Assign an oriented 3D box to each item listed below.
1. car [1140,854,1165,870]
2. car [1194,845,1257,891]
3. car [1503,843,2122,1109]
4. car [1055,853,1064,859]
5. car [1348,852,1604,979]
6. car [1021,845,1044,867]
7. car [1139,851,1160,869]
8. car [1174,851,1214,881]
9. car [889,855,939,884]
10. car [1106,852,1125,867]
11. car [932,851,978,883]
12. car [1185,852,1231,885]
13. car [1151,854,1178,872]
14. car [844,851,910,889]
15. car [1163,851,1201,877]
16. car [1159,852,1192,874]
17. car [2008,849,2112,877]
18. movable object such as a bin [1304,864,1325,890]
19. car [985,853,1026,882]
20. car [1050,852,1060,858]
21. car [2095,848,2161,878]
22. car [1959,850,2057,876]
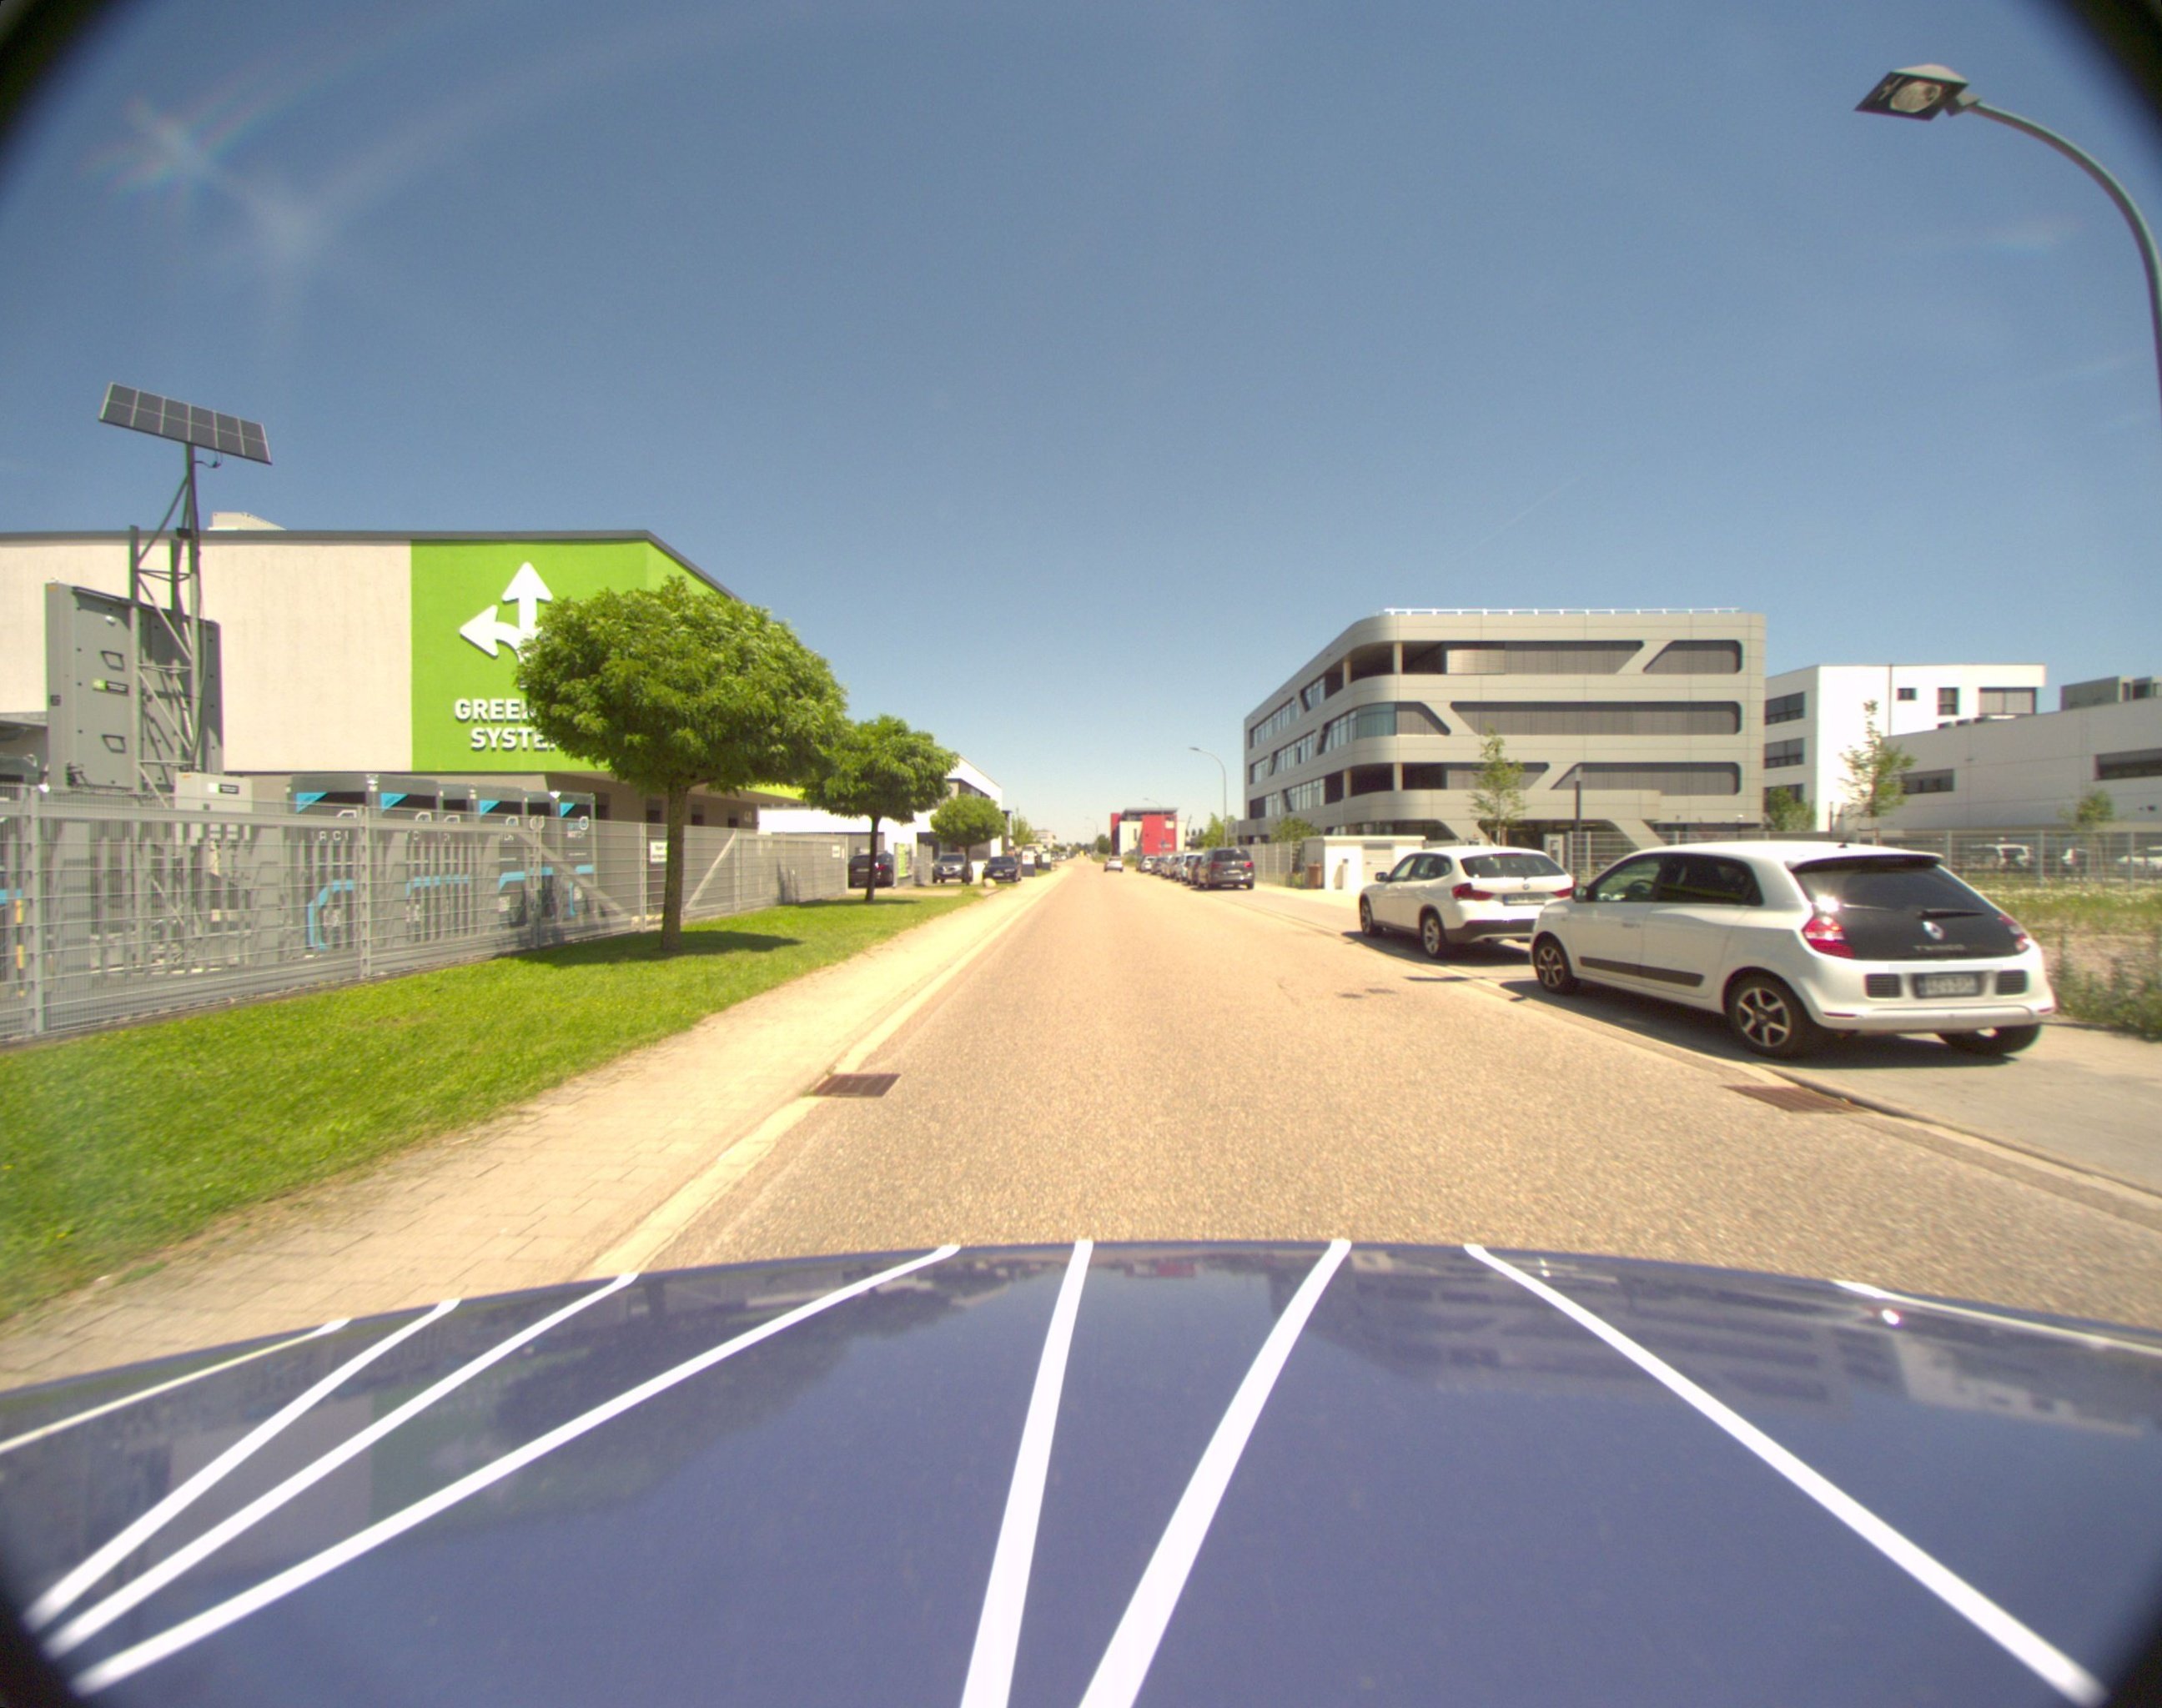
[{"bbox_3d":[6.359,0.702,67.851,1.704,1.378,3.937,-1,0,-2],"label":"car"},{"bbox_3d":[5.942,0.531,31.775,1.807,1.709,4.622,-2,0,1],"label":"car"},{"bbox_3d":[5.653,0.755,6.666,1.791,1.647,3.768,-1,1,0],"label":"car"},{"bbox_3d":[-4.899,0.380,173.588,1.828,1.269,3.886,0,0,1],"label":"car"},{"bbox_3d":[5.674,0.765,11.616,1.791,1.533,4.365,-1,0,3],"label":"car"},{"bbox_3d":[-4.808,0.221,76.061,1.999,2.001,5.801,0,-2,-1],"label":"car"},{"bbox_3d":[6.679,0.602,73.990,1.774,1.641,4.852,-1,0,2],"label":"car"},{"bbox_3d":[6.207,0.621,41.944,1.639,1.527,3.657,-2,0,0],"label":"car"},{"bbox_3d":[-8.899,0.802,40.717,1.727,1.441,4.022,-1,0,1],"label":"car"},{"bbox_3d":[3.292,0.507,73.342,1.708,1.403,4.784,2,0,1],"label":"car"},{"bbox_3d":[-6.649,0.652,40.503,1.727,1.623,4.022,-1,0,1],"label":"car"},{"bbox_3d":[6.095,0.674,36.883,1.638,1.491,3.972,-2,0,2],"label":"car"},{"bbox_3d":[6.438,0.686,58.940,1.688,1.378,4.639,-1,0,1],"label":"car"},{"bbox_3d":[-8.821,0.649,33.180,1.742,1.390,4.053,0,2,0],"label":"car"},{"bbox_3d":[6.300,0.608,47.691,1.707,1.527,4.572,-2,0,0],"label":"car"},{"bbox_3d":[6.578,0.628,53.445,1.707,1.435,4.439,-2,0,0],"label":"car"},{"bbox_3d":[57.625,0.527,44.767,3.999,1.576,1.921,0,0,-6],"label":"car"},{"bbox_3d":[8.678,0.851,28.237,0.601,0.940,0.517,-1,1,41],"label":"movable object such as a bin"},{"bbox_3d":[-3.939,0.699,40.356,1.696,1.419,4.246,-1,0,1],"label":"car"},{"bbox_3d":[-5.465,0.162,157.404,1.828,1.269,3.886,0,0,1],"label":"car"},{"bbox_3d":[56.611,0.469,39.936,3.997,1.576,1.922,0,0,1],"label":"car"},{"bbox_3d":[57.259,0.558,46.972,3.999,1.576,1.921,0,0,-6],"label":"car"}]
